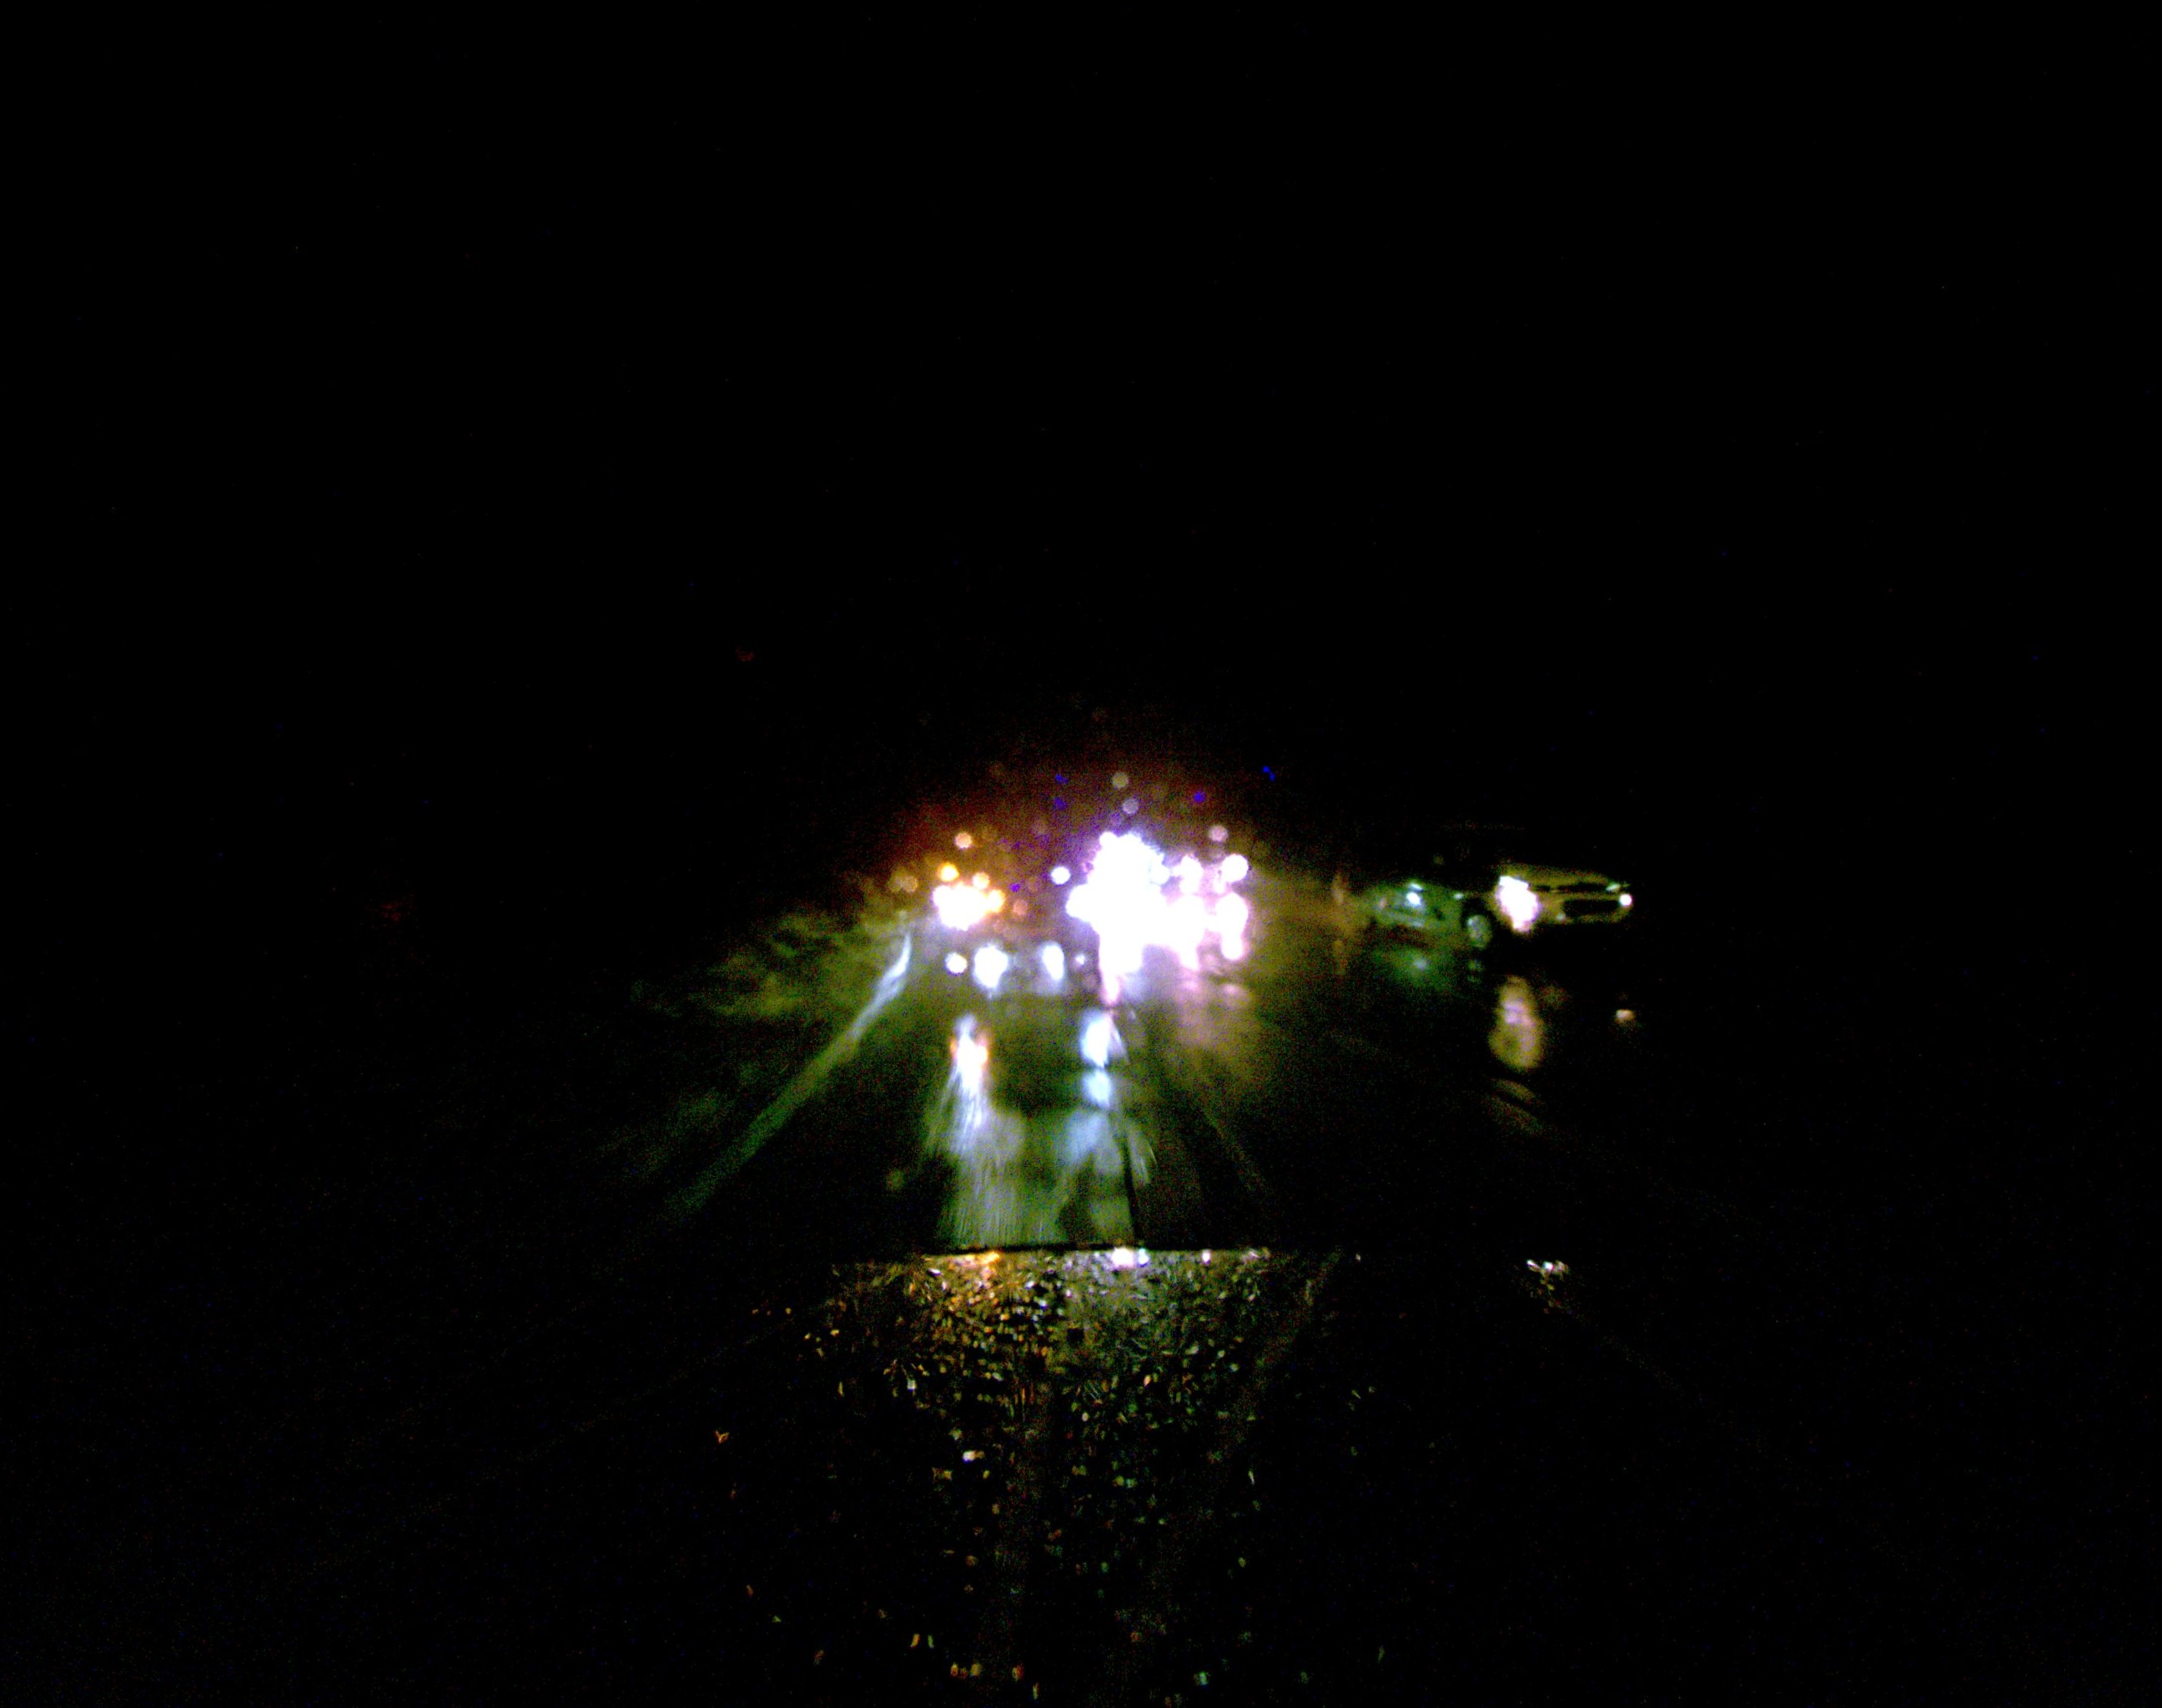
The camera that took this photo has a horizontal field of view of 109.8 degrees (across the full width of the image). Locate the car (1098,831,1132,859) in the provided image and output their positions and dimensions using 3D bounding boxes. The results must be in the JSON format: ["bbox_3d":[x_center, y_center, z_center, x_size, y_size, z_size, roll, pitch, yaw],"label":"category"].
[{"bbox_3d":[2.233,-0.656,51.153,1.747,1.792,4.078,-2,2,-5],"label":"car"}]

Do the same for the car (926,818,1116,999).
[{"bbox_3d":[-0.710,0.516,10.410,2.003,1.915,4.367,-2,2,-2],"label":"car"}]

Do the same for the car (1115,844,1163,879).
[{"bbox_3d":[2.723,0.306,36.603,1.680,1.437,4.172,-2,2,-4],"label":"car"}]

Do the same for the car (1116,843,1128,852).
[{"bbox_3d":[7.947,-1.309,148.076,1.859,1.728,4.635,-2,2,-4],"label":"car"}]

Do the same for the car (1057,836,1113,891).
[{"bbox_3d":[0.084,0.285,28.425,1.782,1.820,4.555,-2,2,-3],"label":"car"}]

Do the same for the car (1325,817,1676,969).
[{"bbox_3d":[5.800,0.421,11.388,2.001,1.783,4.715,0,1,-12],"label":"car"}]

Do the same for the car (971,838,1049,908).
[{"bbox_3d":[-1.857,0.449,19.341,1.688,1.523,3.985,-3,0,-7],"label":"car"}]

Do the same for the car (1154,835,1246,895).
[{"bbox_3d":[3.818,0.285,25.102,1.789,1.587,4.231,1,4,-8],"label":"car"}]

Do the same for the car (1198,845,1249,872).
[{"bbox_3d":[9.902,0.300,53.264,2.036,1.782,4.782,-1,1,-8],"label":"car"}]
